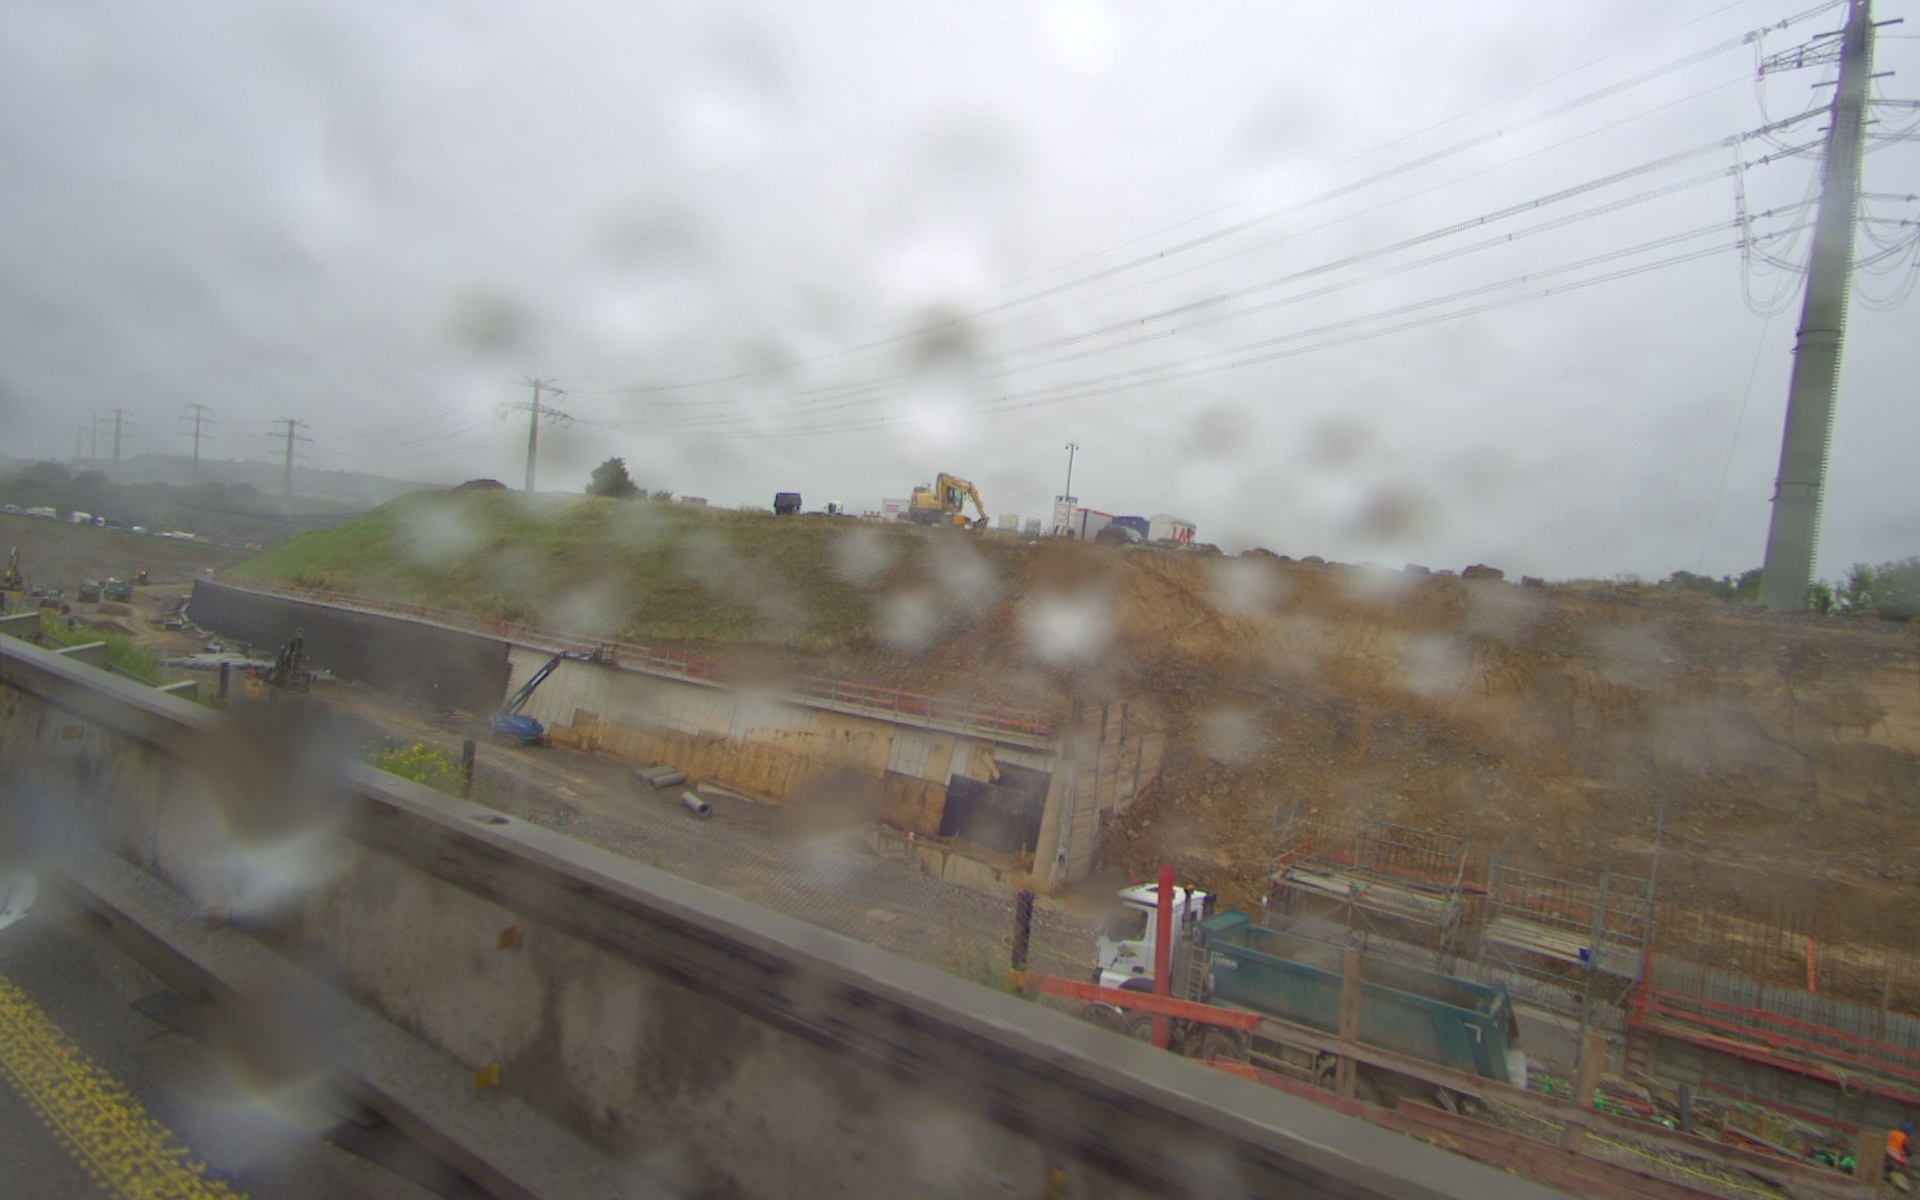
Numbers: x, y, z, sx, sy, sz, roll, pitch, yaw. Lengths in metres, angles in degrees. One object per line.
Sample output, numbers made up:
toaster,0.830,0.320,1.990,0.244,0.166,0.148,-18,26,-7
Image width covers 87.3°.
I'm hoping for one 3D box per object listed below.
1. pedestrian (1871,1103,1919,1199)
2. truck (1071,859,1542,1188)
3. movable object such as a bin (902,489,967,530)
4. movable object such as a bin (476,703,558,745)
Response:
pedestrian,21.654,12.824,23.094,0.891,2.013,0.901,5,-11,35
truck,7.134,8.530,21.716,8.926,3.531,2.731,6,-2,36
movable object such as a bin,-1.898,-6.735,74.669,3.910,2.472,2.428,8,0,39
movable object such as a bin,-25.989,7.283,59.126,3.772,2.035,2.002,6,-4,-5
